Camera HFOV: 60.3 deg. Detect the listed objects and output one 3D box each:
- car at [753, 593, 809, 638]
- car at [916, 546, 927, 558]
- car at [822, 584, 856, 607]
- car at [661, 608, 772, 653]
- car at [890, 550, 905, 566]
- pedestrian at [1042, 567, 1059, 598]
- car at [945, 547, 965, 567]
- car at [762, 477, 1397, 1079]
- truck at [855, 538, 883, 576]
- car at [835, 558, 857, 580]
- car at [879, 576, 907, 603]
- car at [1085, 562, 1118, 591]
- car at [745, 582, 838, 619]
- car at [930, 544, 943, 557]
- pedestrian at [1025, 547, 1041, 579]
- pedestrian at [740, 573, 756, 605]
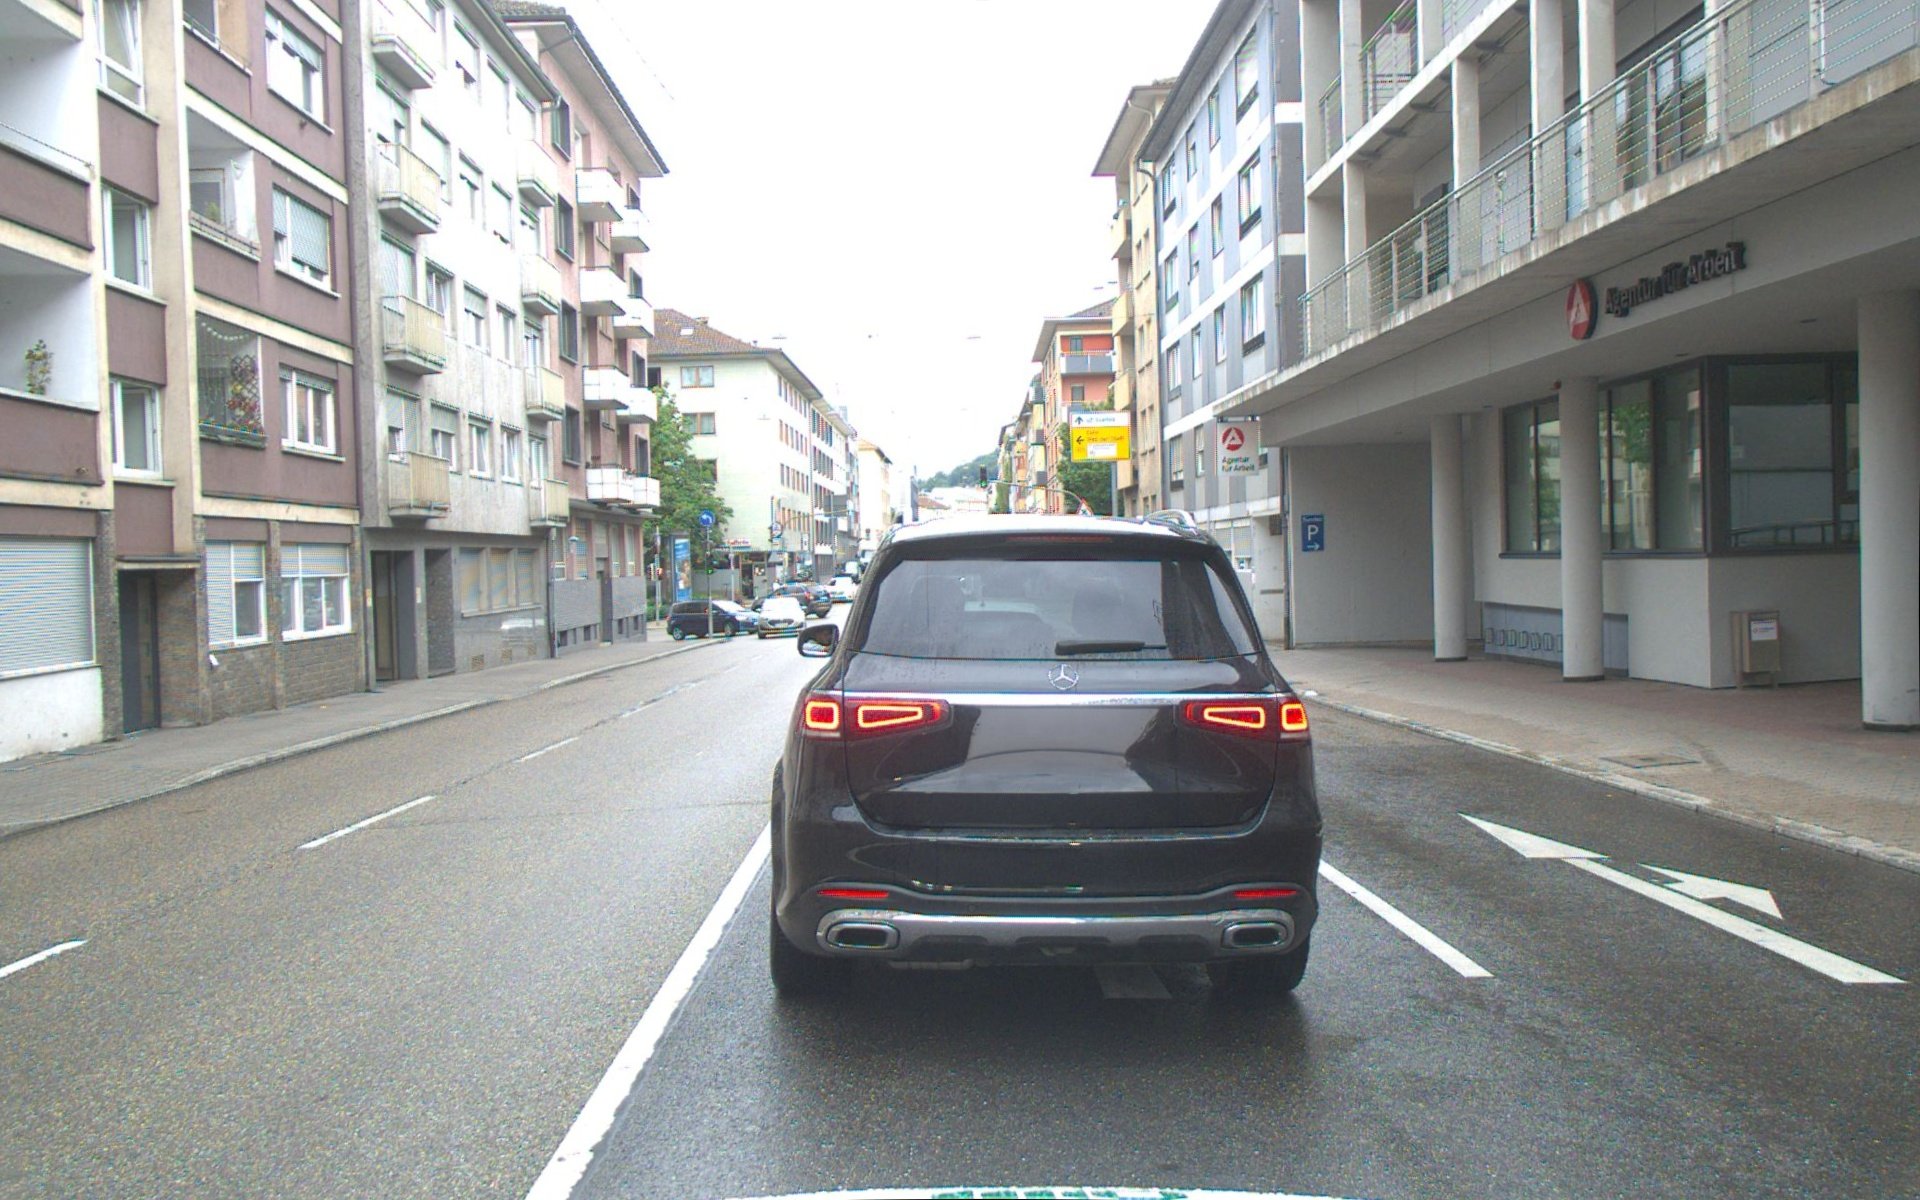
[{"bbox_3d":[-6.856,0.594,63.070,1.741,1.566,4.347,-3,0,-11],"label":"car"},{"bbox_3d":[-5.822,-7.215,250.184,1.586,1.566,4.215,-3,0,-3],"label":"car"},{"bbox_3d":[-7.317,-0.247,100.303,1.848,1.286,4.215,-3,0,-3],"label":"car"},{"bbox_3d":[-10.439,1.308,71.054,4.264,1.735,2.000,-2,0,23],"label":"car"},{"bbox_3d":[-7.292,-4.902,193.590,1.586,1.566,4.215,-3,0,-3],"label":"car"},{"bbox_3d":[5.572,-1.088,101.563,0.904,1.836,0.706,-2,0,-3],"label":"pedestrian"},{"bbox_3d":[-0.548,-4.242,163.800,1.689,1.790,4.215,-3,-1,-3],"label":"car"},{"bbox_3d":[0.344,0.563,7.324,1.944,1.836,4.389,1,0,-1],"label":"car"},{"bbox_3d":[-8.609,-4.018,156.927,2.430,3.099,9.914,-3,0,-3],"label":"truck"},{"bbox_3d":[-9.077,-2.463,131.484,1.586,1.566,4.215,-3,0,-3],"label":"car"},{"bbox_3d":[-4.135,-0.624,101.155,1.586,1.566,4.215,-3,0,-3],"label":"car"},{"bbox_3d":[8.087,-1.340,94.740,1.636,1.616,3.331,-2,1,1],"label":"car"},{"bbox_3d":[-8.288,0.017,81.444,4.117,1.566,1.821,-3,0,21],"label":"car"},{"bbox_3d":[-3.188,-6.717,225.881,1.586,1.566,4.215,-3,0,-3],"label":"car"},{"bbox_3d":[4.765,-2.405,108.284,0.904,2.049,0.706,-2,0,-3],"label":"pedestrian"},{"bbox_3d":[-13.055,-0.693,101.837,0.904,1.935,0.706,-2,0,-3],"label":"pedestrian"}]
